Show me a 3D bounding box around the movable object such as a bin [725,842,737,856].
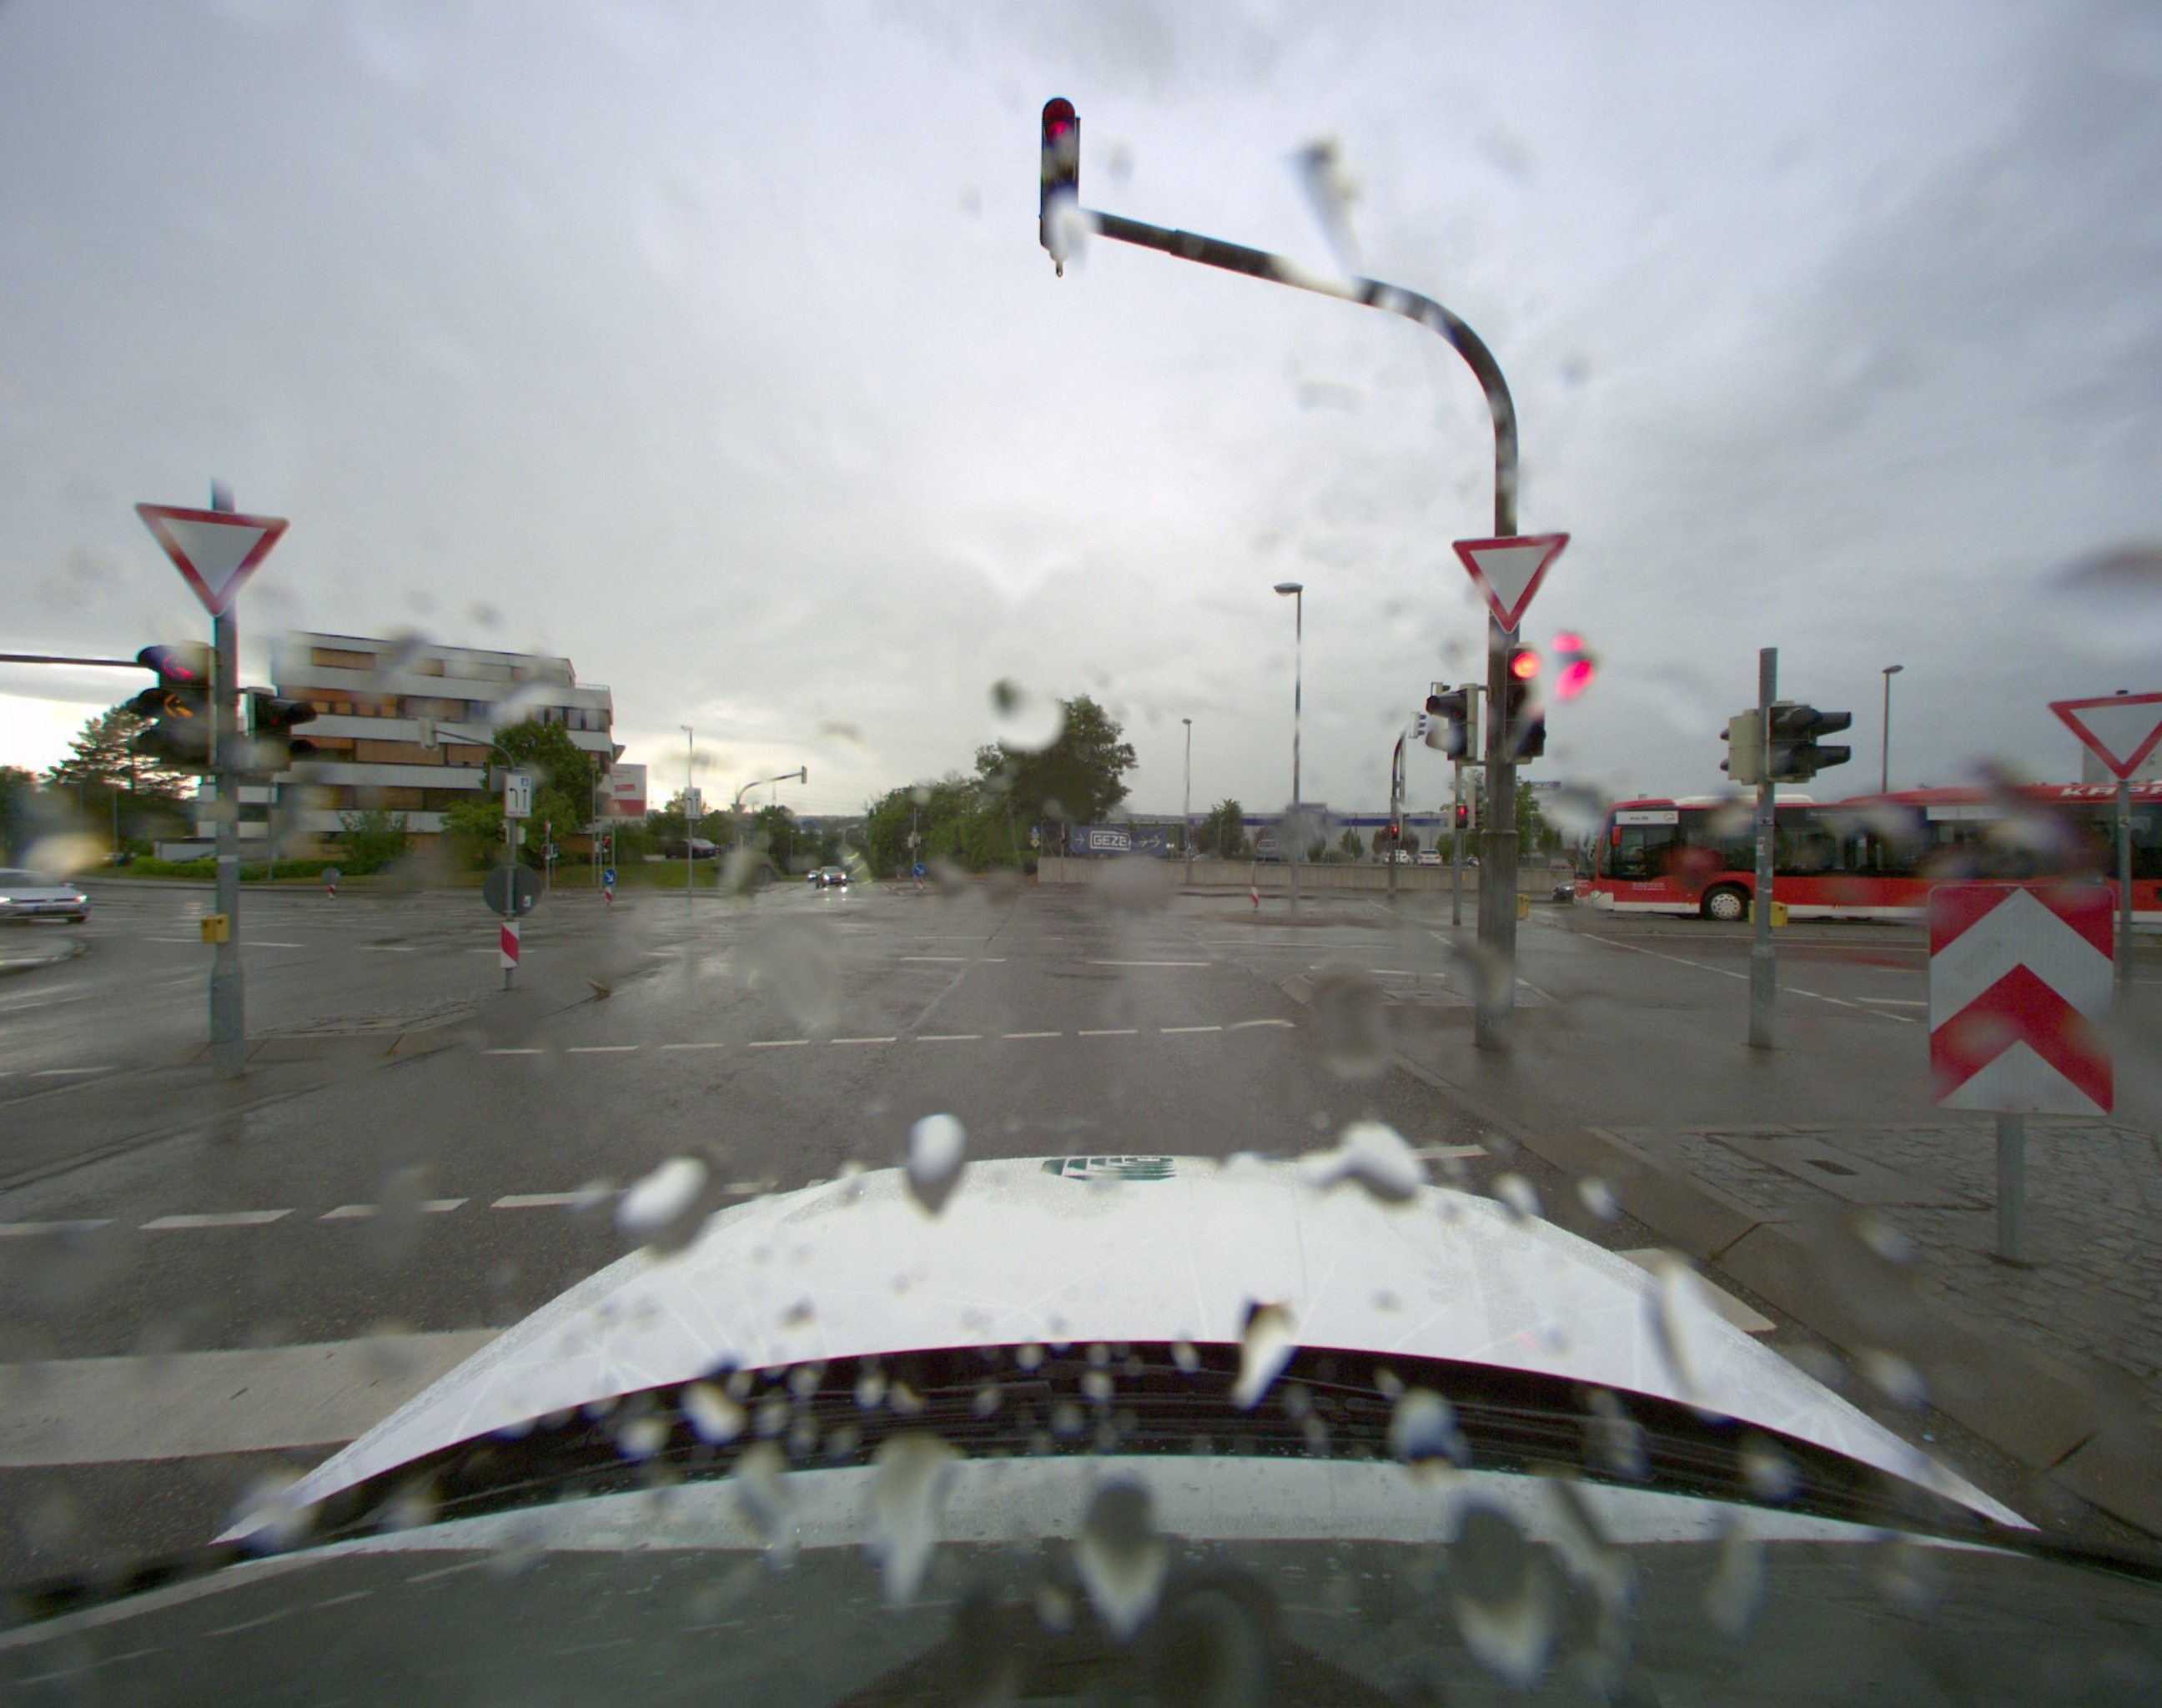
[{"bbox_3d":[-37.759,-0.522,87.883,1.089,1.437,1.434,1,-3,-25],"label":"movable object such as a bin"}]

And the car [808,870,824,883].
[{"bbox_3d":[-32.852,2.793,101.052,1.723,1.494,3.978,0,-1,-16],"label":"car"}]

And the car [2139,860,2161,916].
[{"bbox_3d":[31.686,0.950,21.489,4.344,1.538,1.834,0,0,18],"label":"car"}]

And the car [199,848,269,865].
[{"bbox_3d":[-69.921,0.184,67.314,3.779,1.399,1.977,0,0,-40],"label":"car"}]

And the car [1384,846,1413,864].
[{"bbox_3d":[26.475,0.111,67.887,1.800,1.434,4.128,-1,-1,28],"label":"car"}]

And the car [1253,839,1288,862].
[{"bbox_3d":[13.355,-0.243,57.286,1.727,1.553,3.550,-1,-1,23],"label":"car"}]

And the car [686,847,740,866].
[{"bbox_3d":[-32.644,0.216,72.207,3.958,1.586,1.909,0,-2,14],"label":"car"}]

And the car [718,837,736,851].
[{"bbox_3d":[-42.210,-1.122,97.087,1.836,1.442,3.967,1,-2,-25],"label":"car"}]

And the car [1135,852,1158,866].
[{"bbox_3d":[7.767,0.583,95.902,1.651,1.606,3.550,-1,-1,23],"label":"car"}]

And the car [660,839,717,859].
[{"bbox_3d":[-33.425,-0.433,69.348,3.962,1.586,1.907,0,-2,10],"label":"car"}]

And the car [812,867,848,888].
[{"bbox_3d":[-18.470,1.724,59.894,1.672,1.494,3.961,0,-1,-31],"label":"car"}]

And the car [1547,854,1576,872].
[{"bbox_3d":[42.791,0.766,72.551,1.905,1.589,3.811,0,0,25],"label":"car"}]

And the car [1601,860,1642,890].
[{"bbox_3d":[38.023,1.436,57.371,1.727,2.014,3.844,-1,-1,23],"label":"car"}]

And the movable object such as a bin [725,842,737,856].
[{"bbox_3d":[-38.338,-0.507,89.237,1.089,1.437,1.434,1,-3,-25],"label":"movable object such as a bin"}]

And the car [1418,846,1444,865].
[{"bbox_3d":[28.903,0.133,67.197,1.841,1.526,4.127,-1,-1,25],"label":"car"}]

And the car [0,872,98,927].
[{"bbox_3d":[-28.829,1.169,21.810,4.479,1.363,1.771,-1,-1,20],"label":"car"}]

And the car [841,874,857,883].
[{"bbox_3d":[-43.165,4.529,151.582,1.892,1.456,4.000,0,0,1],"label":"car"}]

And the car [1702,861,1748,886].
[{"bbox_3d":[53.012,1.572,67.129,1.976,2.014,4.022,-1,-1,24],"label":"car"}]

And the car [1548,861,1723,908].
[{"bbox_3d":[17.636,0.936,26.144,4.344,1.354,1.834,0,0,18],"label":"car"}]

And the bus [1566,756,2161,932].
[{"bbox_3d":[18.768,-0.295,19.239,12.152,3.576,3.001,2,0,19],"label":"bus"}]
